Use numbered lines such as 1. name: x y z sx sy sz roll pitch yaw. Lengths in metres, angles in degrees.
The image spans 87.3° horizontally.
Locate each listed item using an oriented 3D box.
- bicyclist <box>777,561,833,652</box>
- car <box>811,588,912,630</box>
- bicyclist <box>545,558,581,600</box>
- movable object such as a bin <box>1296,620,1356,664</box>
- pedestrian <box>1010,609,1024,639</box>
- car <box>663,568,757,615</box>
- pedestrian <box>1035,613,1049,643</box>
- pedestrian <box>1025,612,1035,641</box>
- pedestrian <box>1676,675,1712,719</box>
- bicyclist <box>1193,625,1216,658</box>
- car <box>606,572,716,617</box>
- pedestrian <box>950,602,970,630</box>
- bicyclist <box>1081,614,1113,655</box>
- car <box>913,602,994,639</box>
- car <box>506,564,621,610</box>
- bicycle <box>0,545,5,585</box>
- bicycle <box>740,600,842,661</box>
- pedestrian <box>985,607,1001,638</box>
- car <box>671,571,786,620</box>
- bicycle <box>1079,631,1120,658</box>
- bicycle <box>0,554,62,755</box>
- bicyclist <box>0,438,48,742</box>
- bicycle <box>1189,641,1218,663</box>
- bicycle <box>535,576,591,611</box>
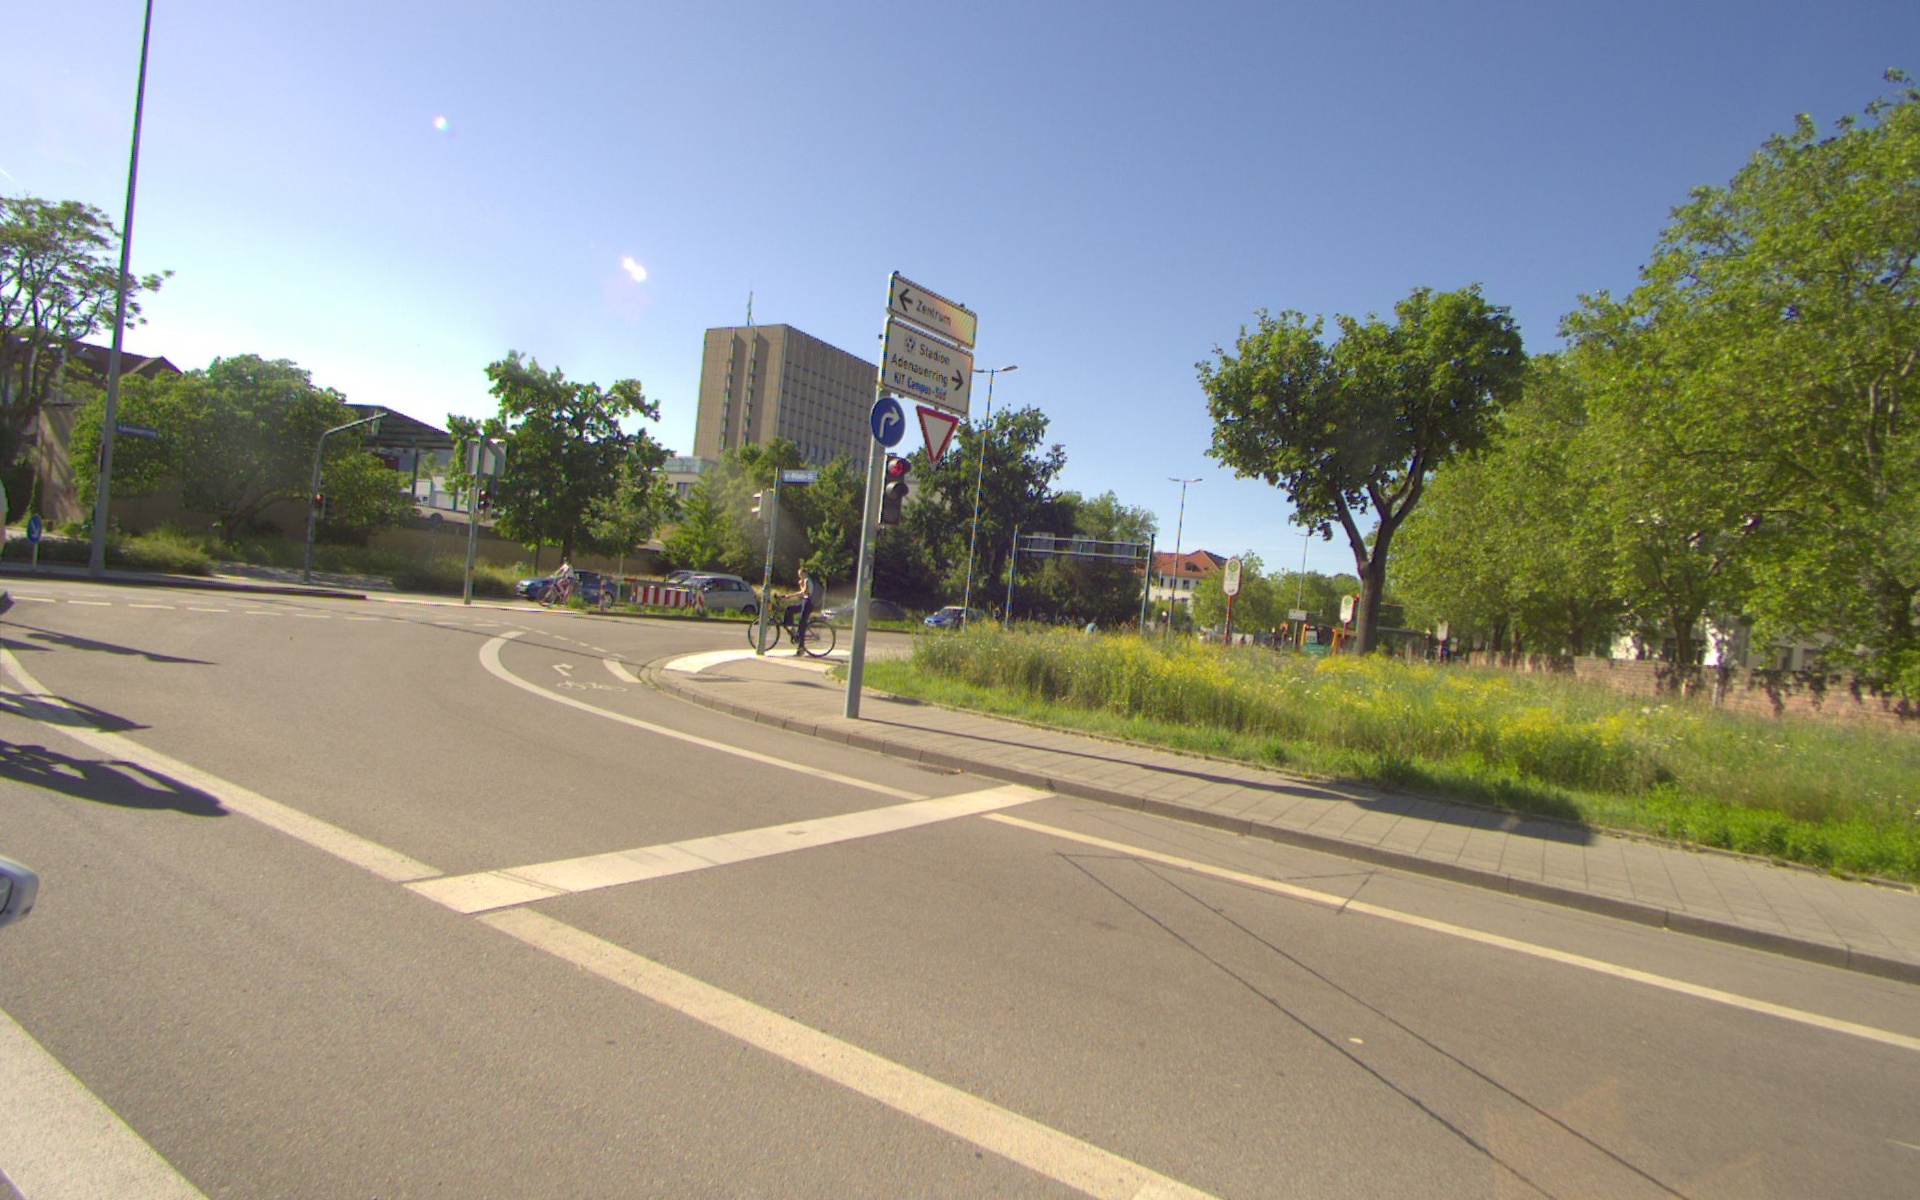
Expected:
1. bicyclist: -3.039 0.124 19.704 0.898 1.667 0.630 6 1 -9
2. car: -4.310 0.436 44.629 1.767 1.415 4.557 7 0 37
3. bicyclist: -13.936 -0.723 35.282 0.602 1.360 0.874 7 1 37
4. movable object such as a bin: 28.090 3.288 76.907 2.954 2.898 9.178 6 0 27
5. pedestrian: 4.741 2.014 84.143 0.655 2.451 0.613 6 -1 34
6. car: -11.843 -0.367 47.795 1.767 1.771 3.986 7 0 37
7. pedestrian: 7.037 2.400 86.194 0.710 2.451 0.585 6 -1 34
8. pedestrian: 6.007 2.284 86.042 0.401 2.451 0.467 6 -1 34
9. pedestrian: 26.066 3.439 35.732 0.712 1.460 0.523 7 -1 2
10. bicyclist: 11.914 2.041 49.018 0.509 1.548 1.067 7 2 39
11. car: -12.300 -0.200 41.570 1.767 1.415 3.986 7 0 37
12. pedestrian: -0.002 1.251 77.453 0.752 2.039 1.267 7 1 36
13. bicyclist: 5.381 1.361 39.510 0.632 1.533 1.049 7 2 39
14. car: -0.295 1.051 50.456 1.916 1.415 3.986 6 0 37
15. car: -16.211 -0.526 41.318 1.767 1.415 3.986 7 0 37
16. bicycle: -8.201 0.022 7.746 1.890 1.102 0.690 6 -1 32
17. bicycle: -3.292 0.591 19.676 1.856 0.970 0.635 7 1 -10
18. pedestrian: 2.692 1.832 81.518 0.660 2.451 0.770 6 -1 34
19. car: -8.741 -0.130 38.288 1.767 1.415 3.986 7 0 37
20. bicycle: 5.527 1.764 39.742 0.640 0.986 1.895 7 1 39
21. bicycle: -6.306 0.235 6.106 1.890 1.102 0.690 6 -1 32
22. bicyclist: -6.317 -0.119 6.139 1.123 1.813 0.684 7 0 32
23. bicycle: 11.903 2.550 49.081 0.514 1.000 1.965 7 1 39
24. bicycle: -13.938 -0.228 35.359 0.602 1.046 1.681 7 0 37
